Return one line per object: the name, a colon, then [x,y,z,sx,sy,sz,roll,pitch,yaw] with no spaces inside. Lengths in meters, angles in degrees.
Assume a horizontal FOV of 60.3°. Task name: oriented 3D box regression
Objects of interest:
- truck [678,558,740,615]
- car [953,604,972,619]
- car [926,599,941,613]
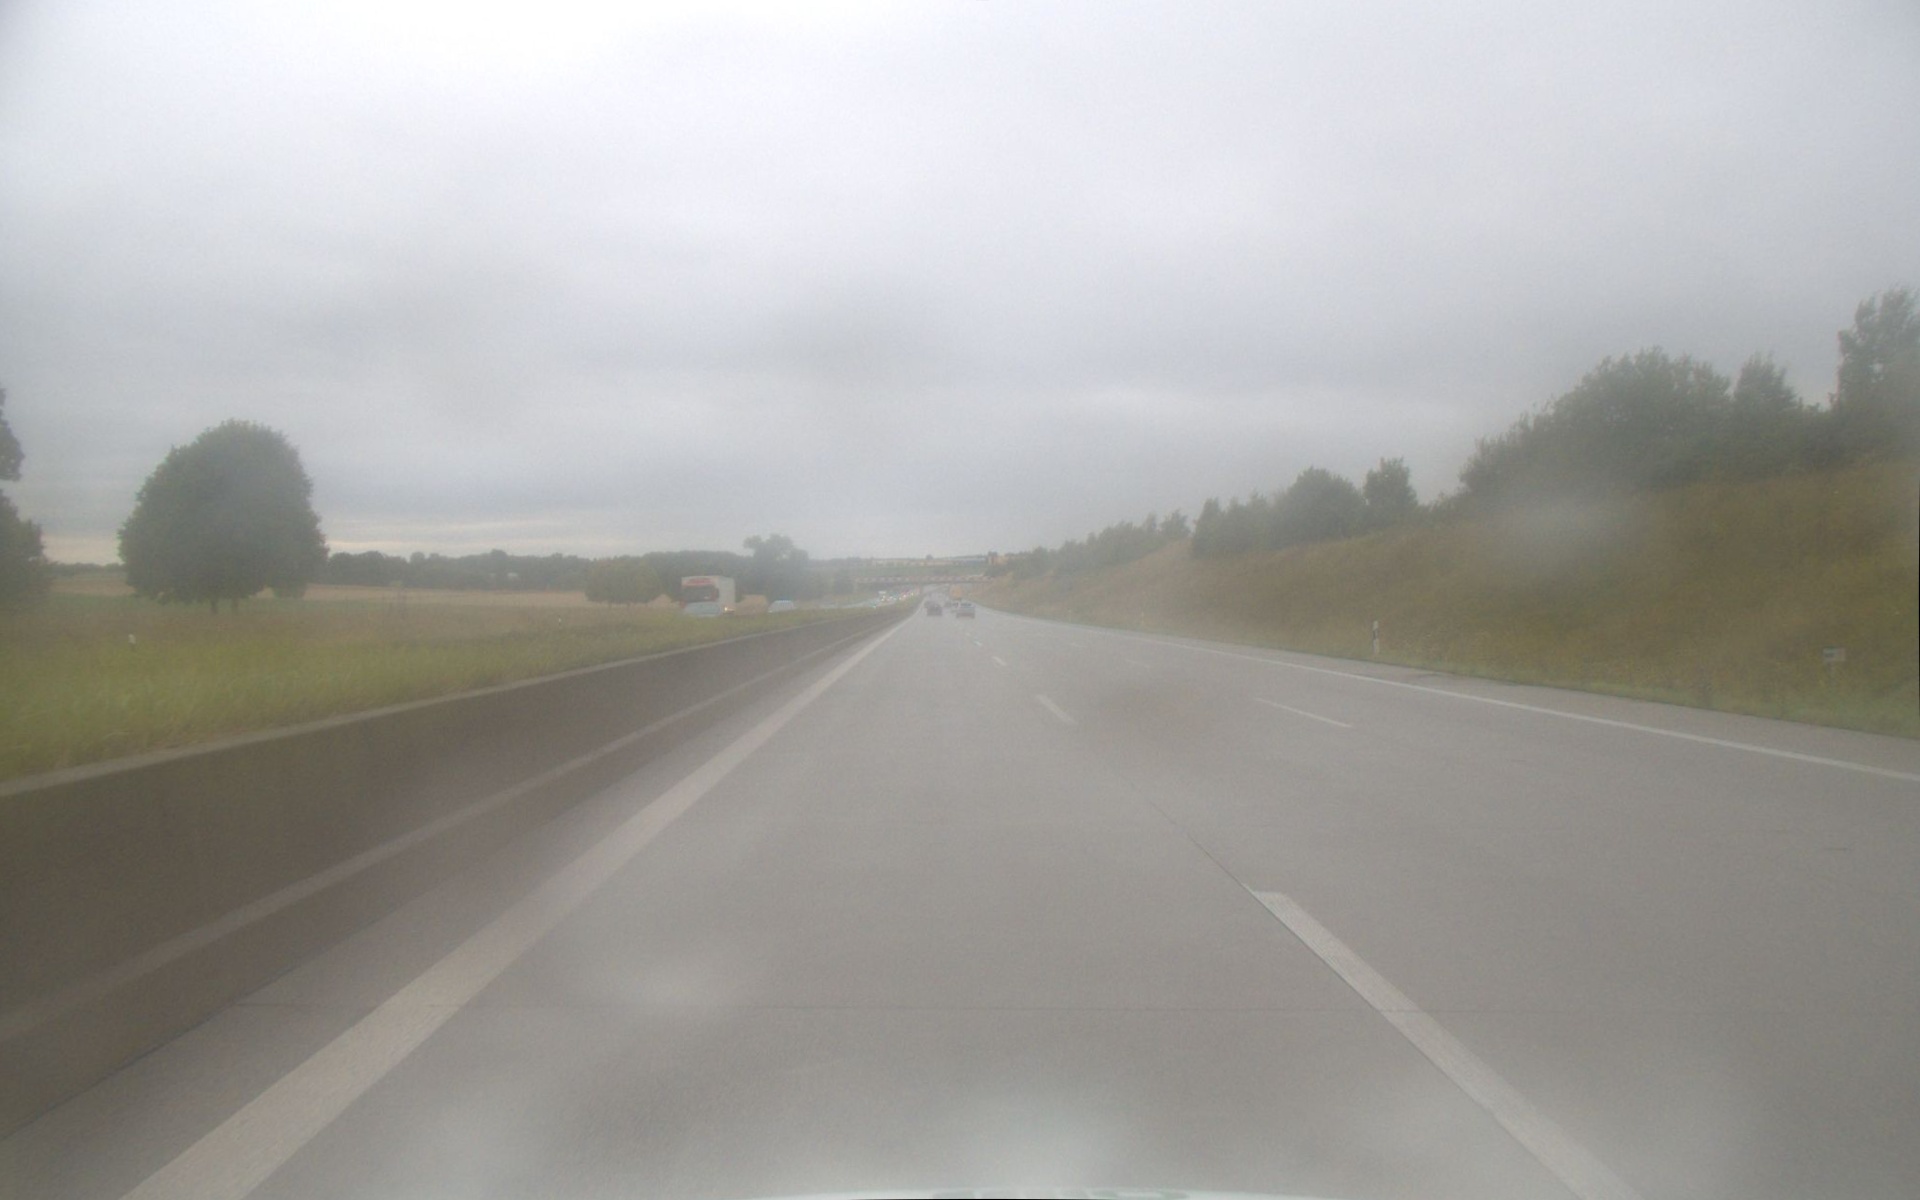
truck: [-18.161,-1.021,120.582,2.844,3.923,12.448,-1,1,-1]
car: [0.244,1.185,167.941,1.810,1.354,4.428,0,1,-2]
car: [-2.981,0.675,185.524,1.694,1.354,4.430,0,1,-1]
